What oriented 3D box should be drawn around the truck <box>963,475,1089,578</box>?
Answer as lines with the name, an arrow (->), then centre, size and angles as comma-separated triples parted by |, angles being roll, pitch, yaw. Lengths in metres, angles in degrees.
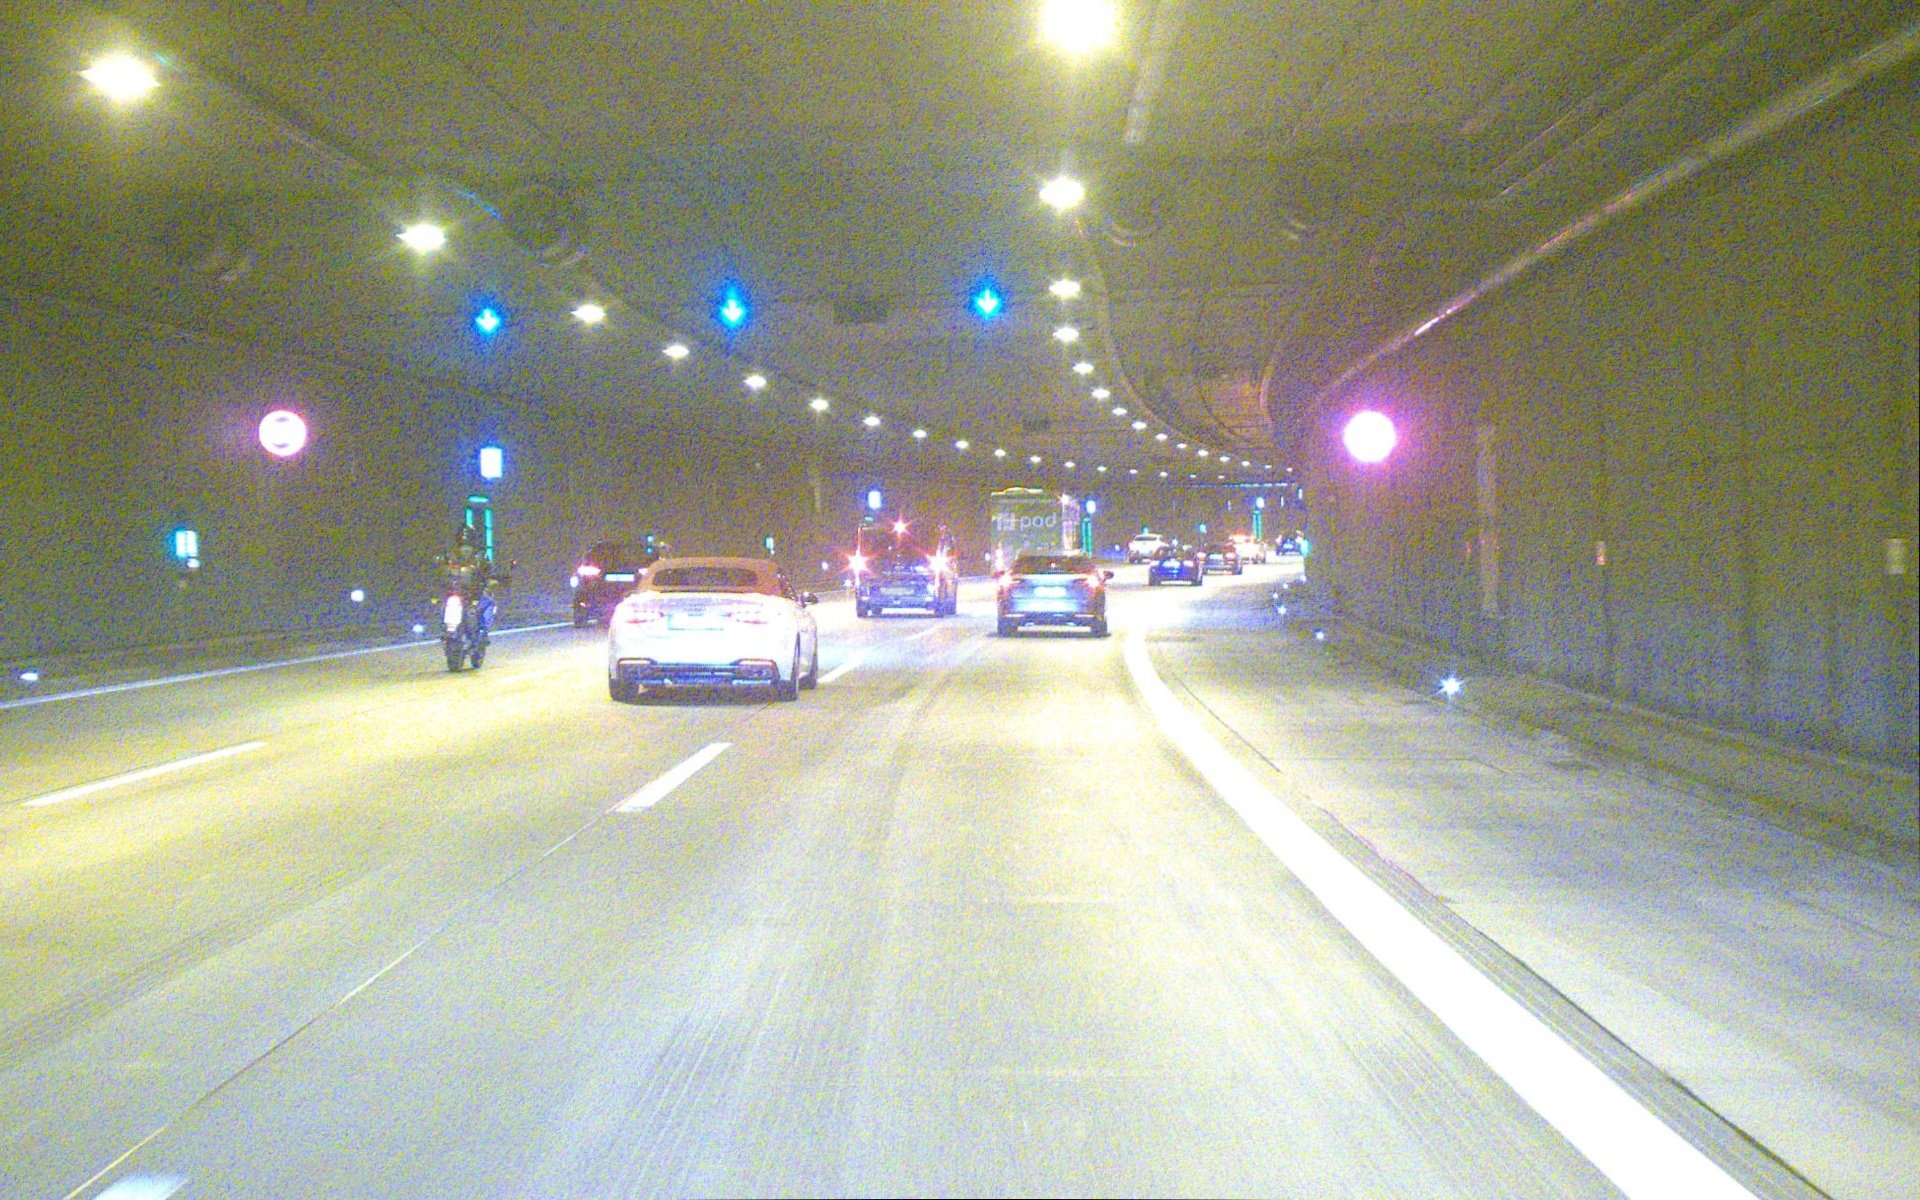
truck -> 2.294, -2.540, 114.964 | 3.083, 3.102, 10.027 | -3, 2, 7

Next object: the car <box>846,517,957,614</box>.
car -> -1.205, -0.738, 72.548 | 1.994, 1.965, 4.000 | 1, 1, 4

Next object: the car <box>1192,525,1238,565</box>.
car -> 11.132, -2.401, 150.131 | 1.859, 1.660, 3.999 | -2, 1, 6

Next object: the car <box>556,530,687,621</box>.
car -> -6.115, -0.469, 62.477 | 1.785, 1.593, 3.801 | 0, 1, 3

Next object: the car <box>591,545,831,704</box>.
car -> -2.410, 0.195, 34.209 | 1.993, 1.478, 4.000 | 0, 1, 1

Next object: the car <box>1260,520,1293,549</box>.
car -> 19.383, -4.013, 210.330 | 1.834, 1.685, 3.999 | -2, 1, 7

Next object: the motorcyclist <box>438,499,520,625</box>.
motorcyclist -> -5.728, -0.456, 40.975 | 0.839, 1.472, 0.821 | 0, 2, 1

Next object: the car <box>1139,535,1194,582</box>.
car -> 7.345, -1.481, 121.868 | 1.844, 1.562, 4.000 | -2, 1, 4

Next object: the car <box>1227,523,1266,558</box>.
car -> 15.229, -3.168, 182.654 | 1.965, 1.744, 3.999 | -2, 1, 6

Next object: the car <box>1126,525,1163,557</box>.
car -> 9.739, -3.120, 181.831 | 1.830, 1.612, 4.000 | -2, 1, 2

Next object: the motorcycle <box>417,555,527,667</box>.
motorcycle -> -5.741, 0.109, 40.590 | 0.845, 1.241, 2.604 | -1, 1, 1

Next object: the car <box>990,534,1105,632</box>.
car -> 1.453, -0.315, 58.333 | 1.839, 1.597, 4.000 | 0, 1, 0
